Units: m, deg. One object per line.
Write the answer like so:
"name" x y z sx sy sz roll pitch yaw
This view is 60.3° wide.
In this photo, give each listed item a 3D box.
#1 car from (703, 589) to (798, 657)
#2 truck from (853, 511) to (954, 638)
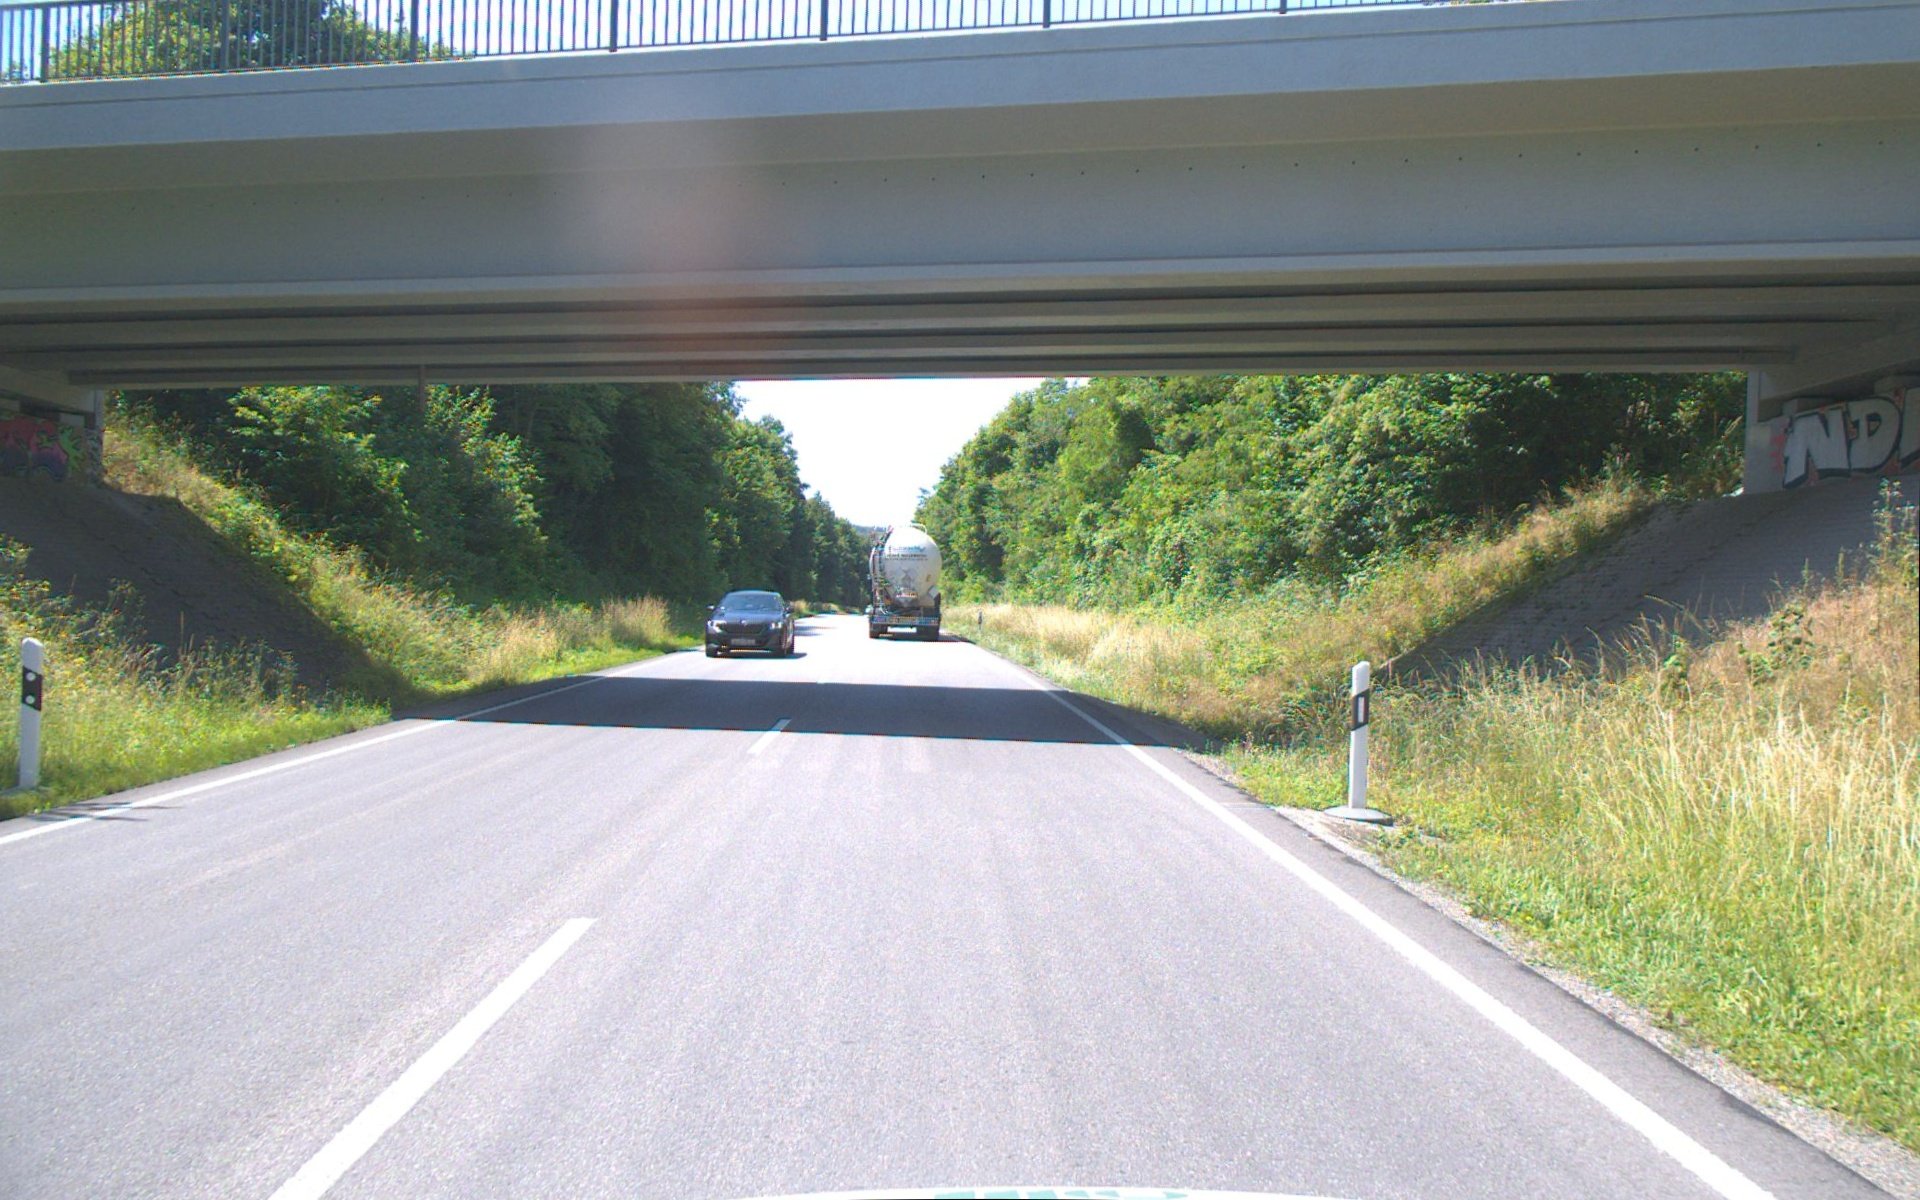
"car" -4.949 0.512 39.608 1.821 1.532 4.585 1 0 -2
"truck" -2.382 -0.761 63.206 2.990 4.068 15.621 4 -1 -4
